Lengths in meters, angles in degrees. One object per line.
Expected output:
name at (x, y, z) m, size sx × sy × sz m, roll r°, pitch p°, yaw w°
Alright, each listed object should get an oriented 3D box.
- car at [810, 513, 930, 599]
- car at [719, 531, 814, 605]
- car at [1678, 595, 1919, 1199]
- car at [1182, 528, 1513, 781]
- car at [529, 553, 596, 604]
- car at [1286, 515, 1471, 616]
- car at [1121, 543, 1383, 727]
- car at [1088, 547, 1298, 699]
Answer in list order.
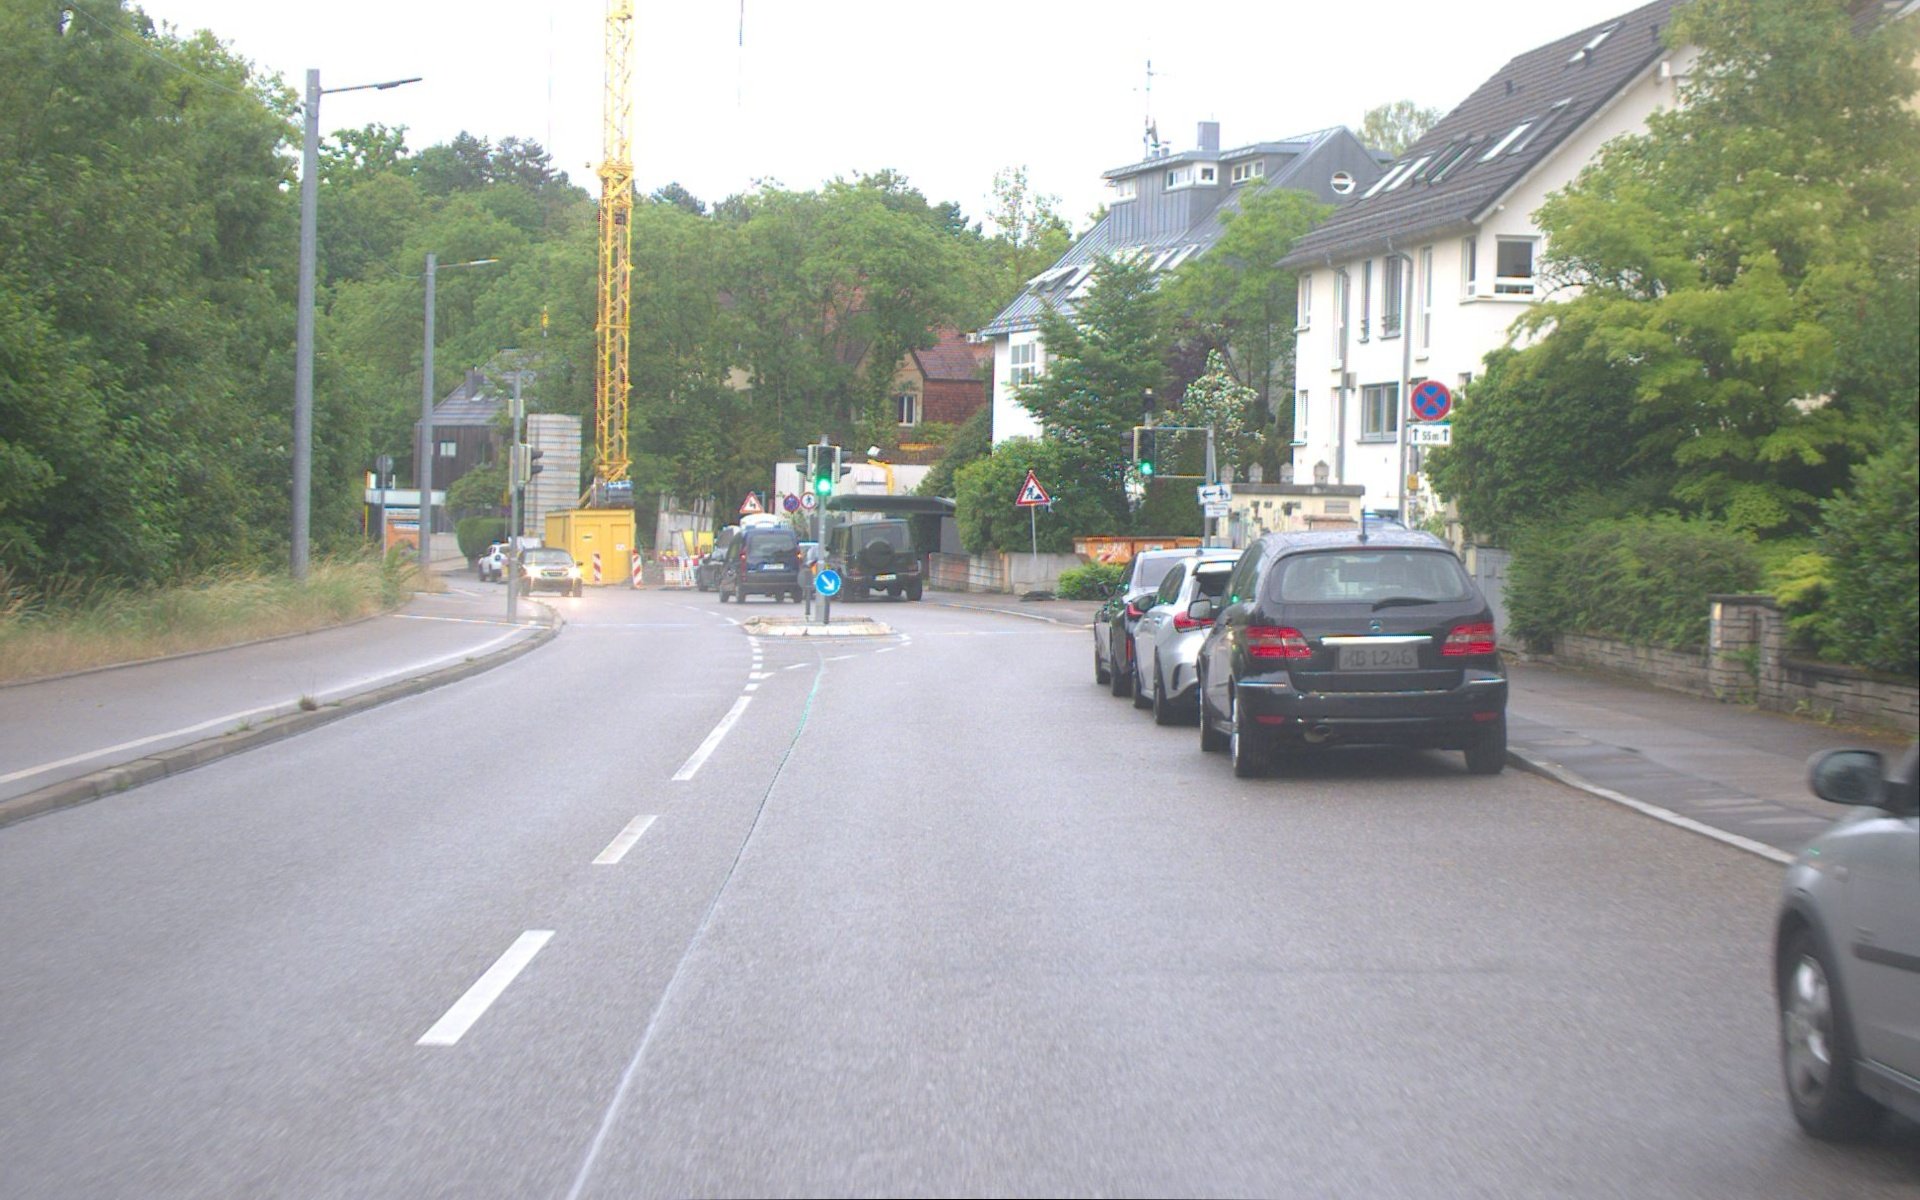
car at (-2.256, -1.091, 85.011) m, size 1.993 × 2.007 × 4.958 m, roll -2°, pitch 1°, yaw -13°
car at (-4.802, -0.808, 84.755) m, size 1.931 × 1.745 × 4.001 m, roll 1°, pitch 1°, yaw -9°
car at (3.048, 0.689, 7.839) m, size 1.813 × 1.393 × 4.103 m, roll 0°, pitch 0°, yaw -2°
car at (2.583, 0.296, 23.874) m, size 1.730 × 1.562 × 4.522 m, roll 0°, pitch 1°, yaw -1°
car at (-11.594, -0.628, 100.417) m, size 1.743 × 1.455 × 4.415 m, roll 0°, pitch 1°, yaw -4°
car at (7.227, -0.600, 59.839) m, size 1.931 × 1.590 × 4.343 m, roll 3°, pitch 0°, yaw -10°
car at (2.467, 0.281, 30.060) m, size 1.793 × 1.481 × 4.496 m, roll 0°, pitch 0°, yaw -1°
car at (2.304, 0.203, 35.021) m, size 1.751 × 1.438 × 4.601 m, roll 0°, pitch 0°, yaw -1°
